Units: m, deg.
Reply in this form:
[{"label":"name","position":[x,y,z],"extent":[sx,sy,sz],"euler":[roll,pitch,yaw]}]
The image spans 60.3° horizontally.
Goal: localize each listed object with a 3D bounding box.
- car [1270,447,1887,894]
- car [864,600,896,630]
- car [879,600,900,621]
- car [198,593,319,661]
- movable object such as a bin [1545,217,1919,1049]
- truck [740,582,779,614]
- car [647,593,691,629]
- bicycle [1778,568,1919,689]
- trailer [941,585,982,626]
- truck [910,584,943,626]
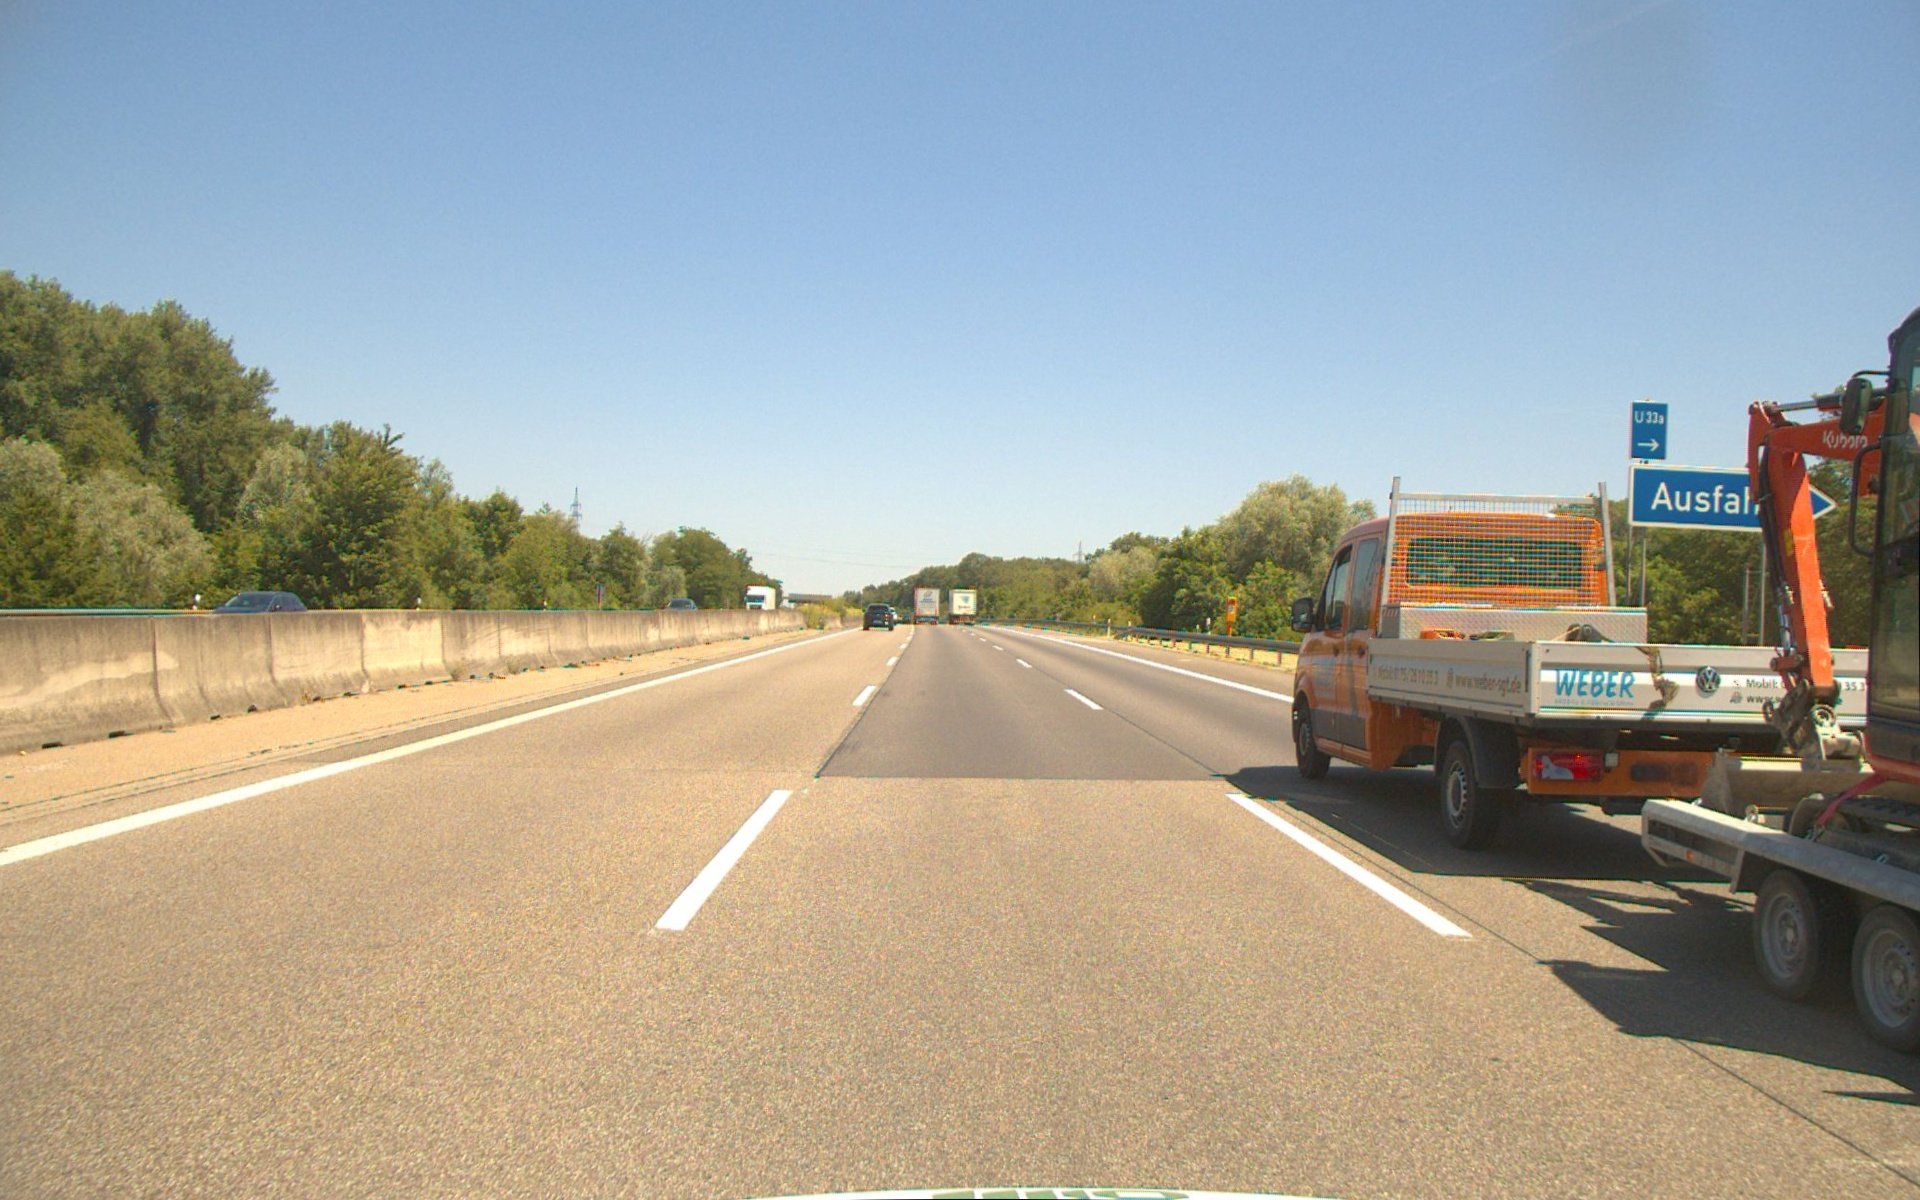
[{"label":"car","position":[4.139,0.405,12.851],"extent":[1.953,2.447,7.225],"euler":[1,0,-1]},{"label":"car","position":[-5.255,0.977,109.271],"extent":[1.953,1.907,3.999],"euler":[1,0,-1]},{"label":"car","position":[-6.756,0.994,159.117],"extent":[1.954,1.907,3.998],"euler":[2,0,-2]},{"label":"car","position":[-22.633,0.854,53.551],"extent":[1.952,2.049,4.429],"euler":[1,0,0]},{"label":"movable object such as a bin","position":[4.357,0.129,6.776],"extent":[2.130,2.865,4.760],"euler":[1,0,-1]},{"label":"truck","position":[-25.695,-0.221,212.664],"extent":[3.526,3.800,17.476],"euler":[1,0,-2]},{"label":"car","position":[-17.625,0.665,100.461],"extent":[1.953,2.049,4.085],"euler":[1,0,-1]},{"label":"bicycle","position":[9.797,0.322,17.758],"extent":[0.940,1.177,2.609],"euler":[4,0,7]},{"label":"trailer","position":[0.114,0.600,186.186],"extent":[3.303,4.214,9.079],"euler":[4,0,-6]},{"label":"truck","position":[-3.672,0.526,178.949],"extent":[3.165,4.275,8.462],"euler":[4,0,-2]}]
